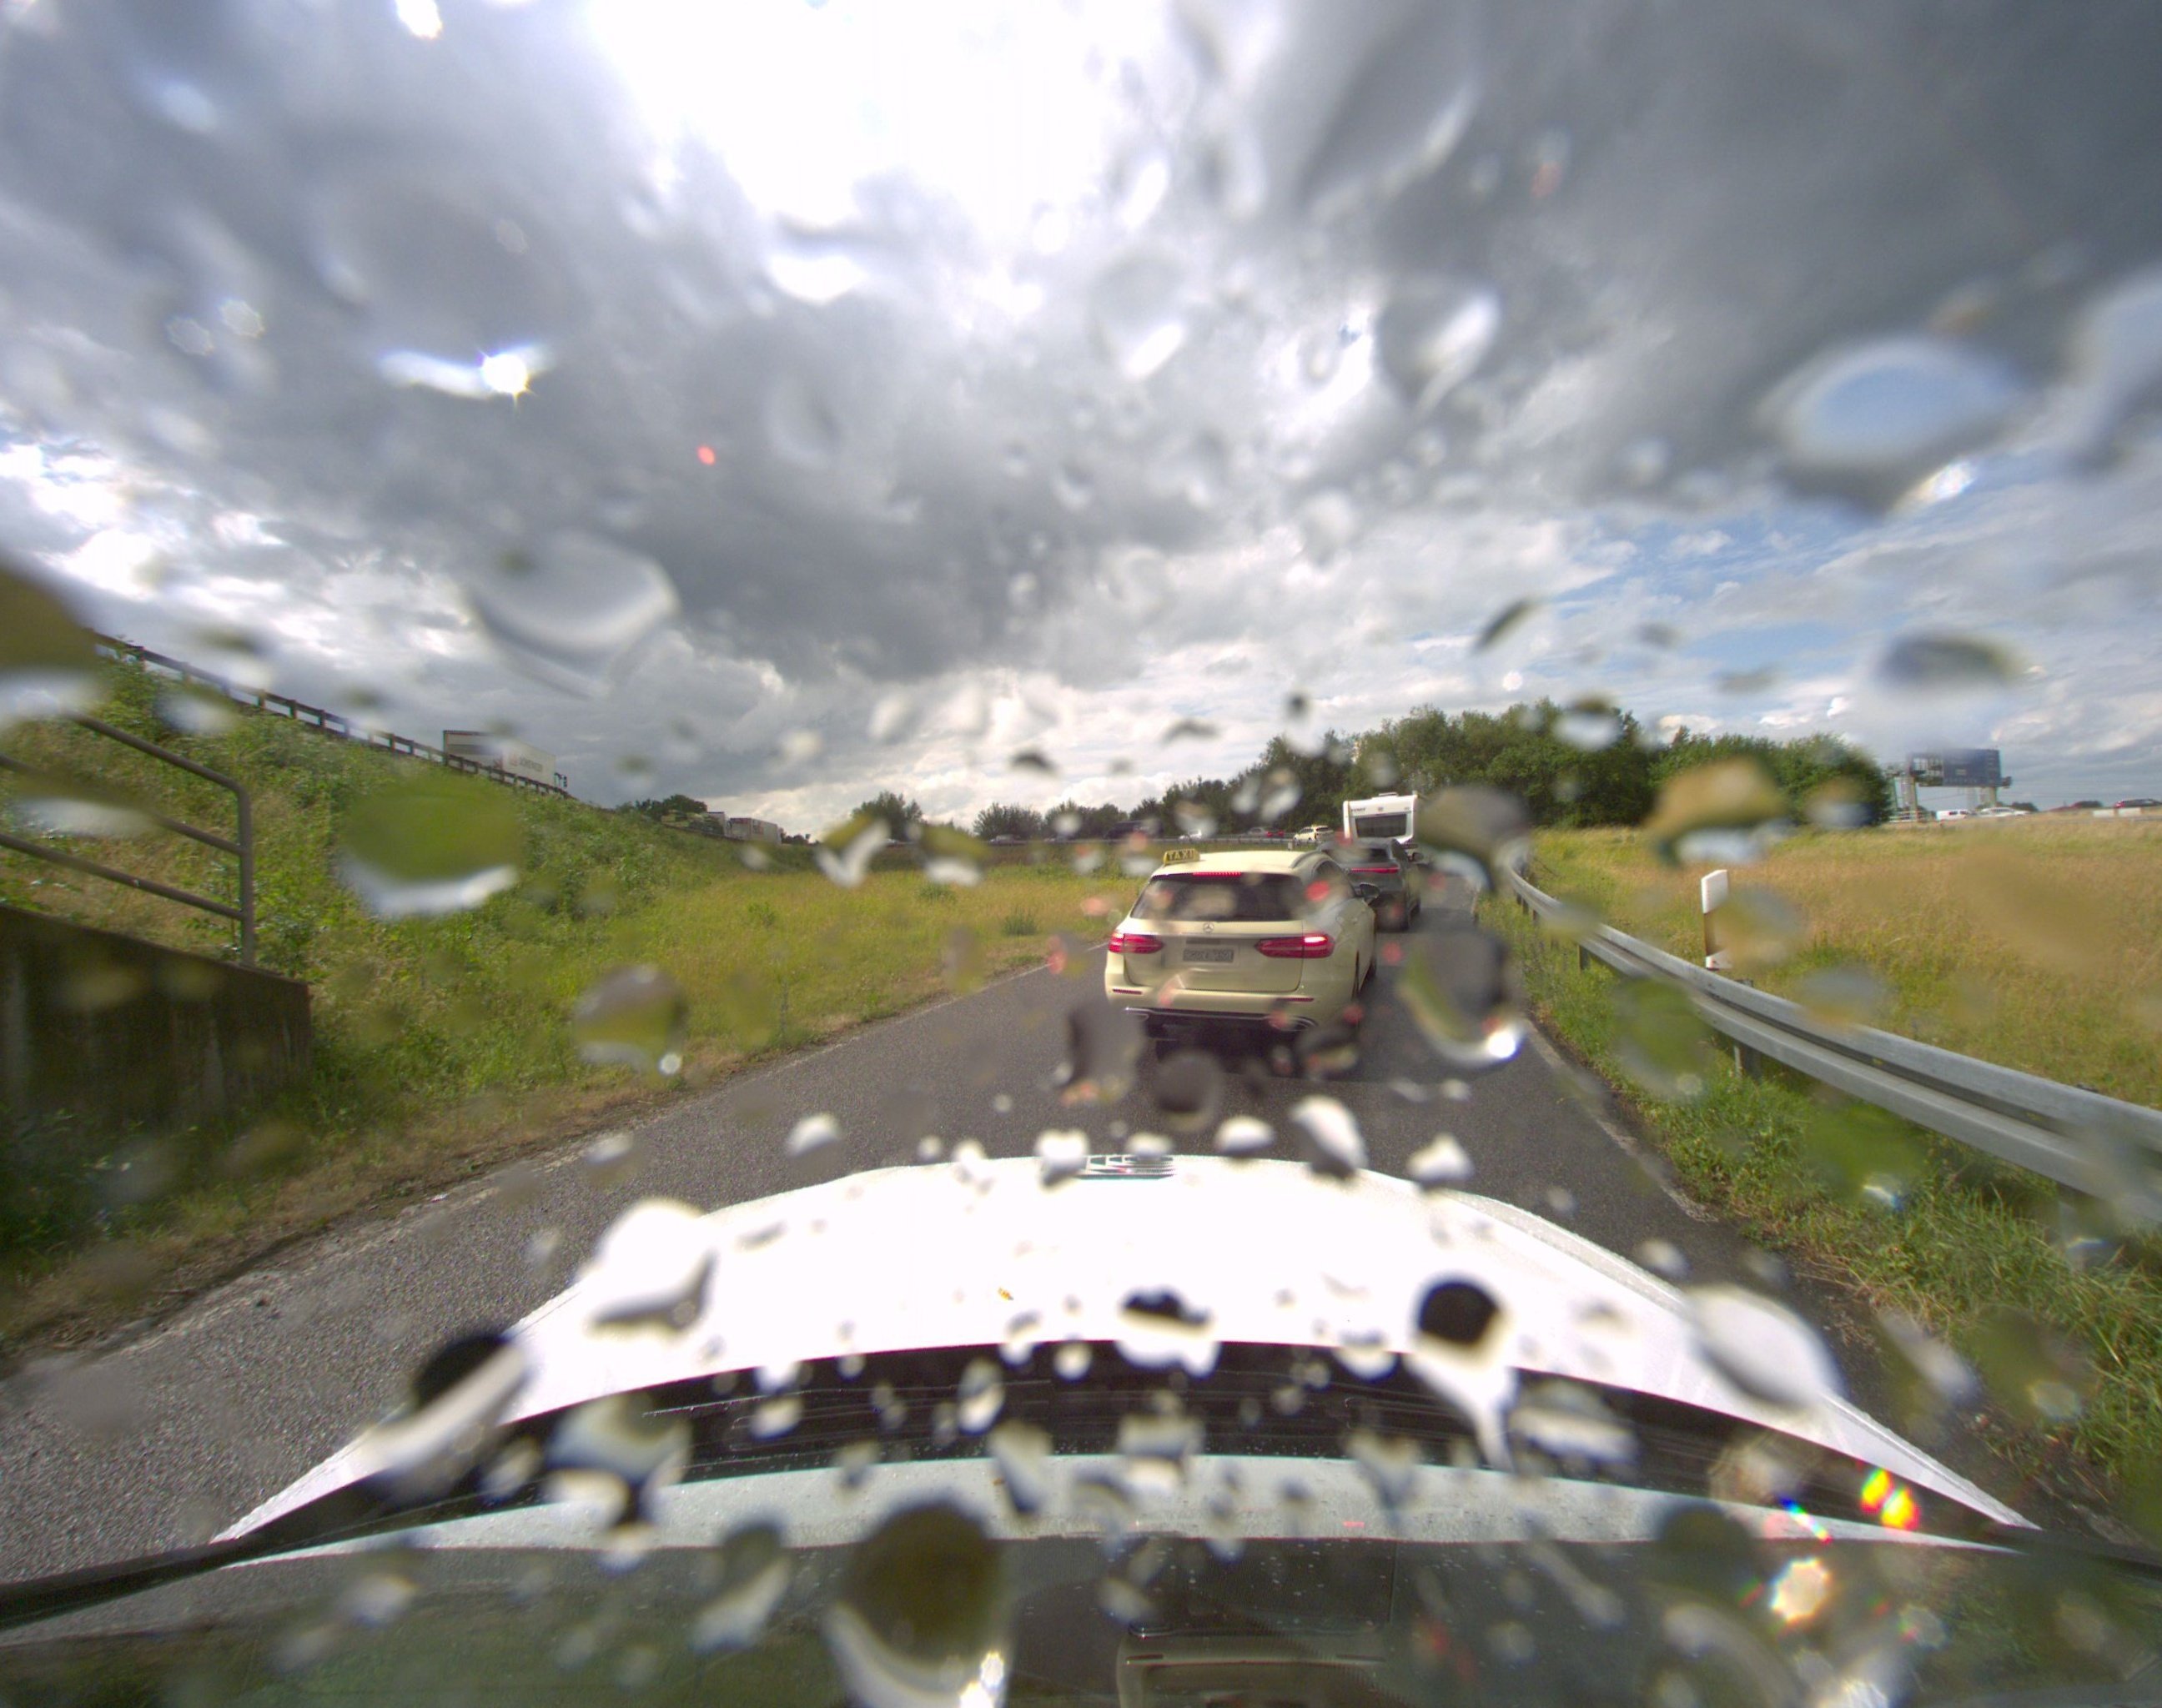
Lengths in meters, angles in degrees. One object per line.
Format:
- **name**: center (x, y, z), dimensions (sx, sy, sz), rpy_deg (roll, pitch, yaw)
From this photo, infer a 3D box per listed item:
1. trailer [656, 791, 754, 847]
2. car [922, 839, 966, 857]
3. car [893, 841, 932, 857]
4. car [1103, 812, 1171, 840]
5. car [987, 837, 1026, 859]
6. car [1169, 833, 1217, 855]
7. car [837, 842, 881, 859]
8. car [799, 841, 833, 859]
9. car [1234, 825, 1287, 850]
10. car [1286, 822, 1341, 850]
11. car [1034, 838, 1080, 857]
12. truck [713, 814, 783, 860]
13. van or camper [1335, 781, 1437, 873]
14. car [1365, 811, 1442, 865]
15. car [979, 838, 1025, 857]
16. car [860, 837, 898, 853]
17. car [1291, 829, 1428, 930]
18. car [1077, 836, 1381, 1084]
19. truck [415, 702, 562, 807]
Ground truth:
- **trailer**: center (-38.996, -3.392, 85.825), dimensions (4.414, 3.956, 20.140), rpy_deg (-2, -3, -10)
- **car**: center (-16.934, -0.768, 100.571), dimensions (4.996, 1.861, 2.011), rpy_deg (-3, -1, 22)
- **car**: center (-21.804, -0.614, 105.504), dimensions (4.463, 1.861, 2.008), rpy_deg (-3, -1, 15)
- **car**: center (5.933, -2.971, 87.299), dimensions (6.896, 2.595, 2.893), rpy_deg (-2, 1, 44)
- **car**: center (-8.911, -0.714, 97.578), dimensions (3.948, 2.012, 2.014), rpy_deg (-6, 4, 30)
- **car**: center (11.098, -0.960, 81.149), dimensions (2.007, 1.861, 5.006), rpy_deg (-3, -1, -31)
- **car**: center (-28.493, -0.401, 104.641), dimensions (5.009, 1.861, 2.006), rpy_deg (-3, -1, 10)
- **car**: center (-33.827, -0.519, 104.018), dimensions (3.996, 2.014, 1.816), rpy_deg (-1, -3, -17)
- **car**: center (15.774, -1.461, 72.027), dimensions (2.002, 1.861, 5.019), rpy_deg (-3, -1, -22)
- **car**: center (17.649, -1.319, 62.068), dimensions (1.993, 1.861, 5.043), rpy_deg (-5, 0, -8)
- **car**: center (-2.807, -0.732, 93.678), dimensions (4.991, 1.861, 2.013), rpy_deg (-4, -1, 36)
- **truck**: center (-42.517, -1.955, 104.953), dimensions (4.462, 4.504, 19.301), rpy_deg (-2, -3, -10)
- **van or camper**: center (10.448, -0.843, 27.541), dimensions (2.407, 2.729, 6.038), rpy_deg (-2, 0, 28)
- **car**: center (13.101, -0.713, 32.803), dimensions (2.406, 1.925, 5.795), rpy_deg (-2, 2, 26)
- **car**: center (-9.512, -0.769, 97.550), dimensions (4.996, 1.861, 2.011), rpy_deg (-3, -1, 22)
- **car**: center (-27.749, -1.236, 111.574), dimensions (4.992, 1.861, 2.013), rpy_deg (-4, -1, 31)
- **car**: center (5.156, 0.380, 14.708), dimensions (1.702, 1.525, 4.024), rpy_deg (-4, -1, 27)
- **car**: center (1.740, 0.638, 7.713), dimensions (1.899, 1.507, 4.622), rpy_deg (0, 2, 22)
- **truck**: center (-30.900, -4.975, 43.084), dimensions (3.186, 3.967, 9.185), rpy_deg (-1, -3, -16)
